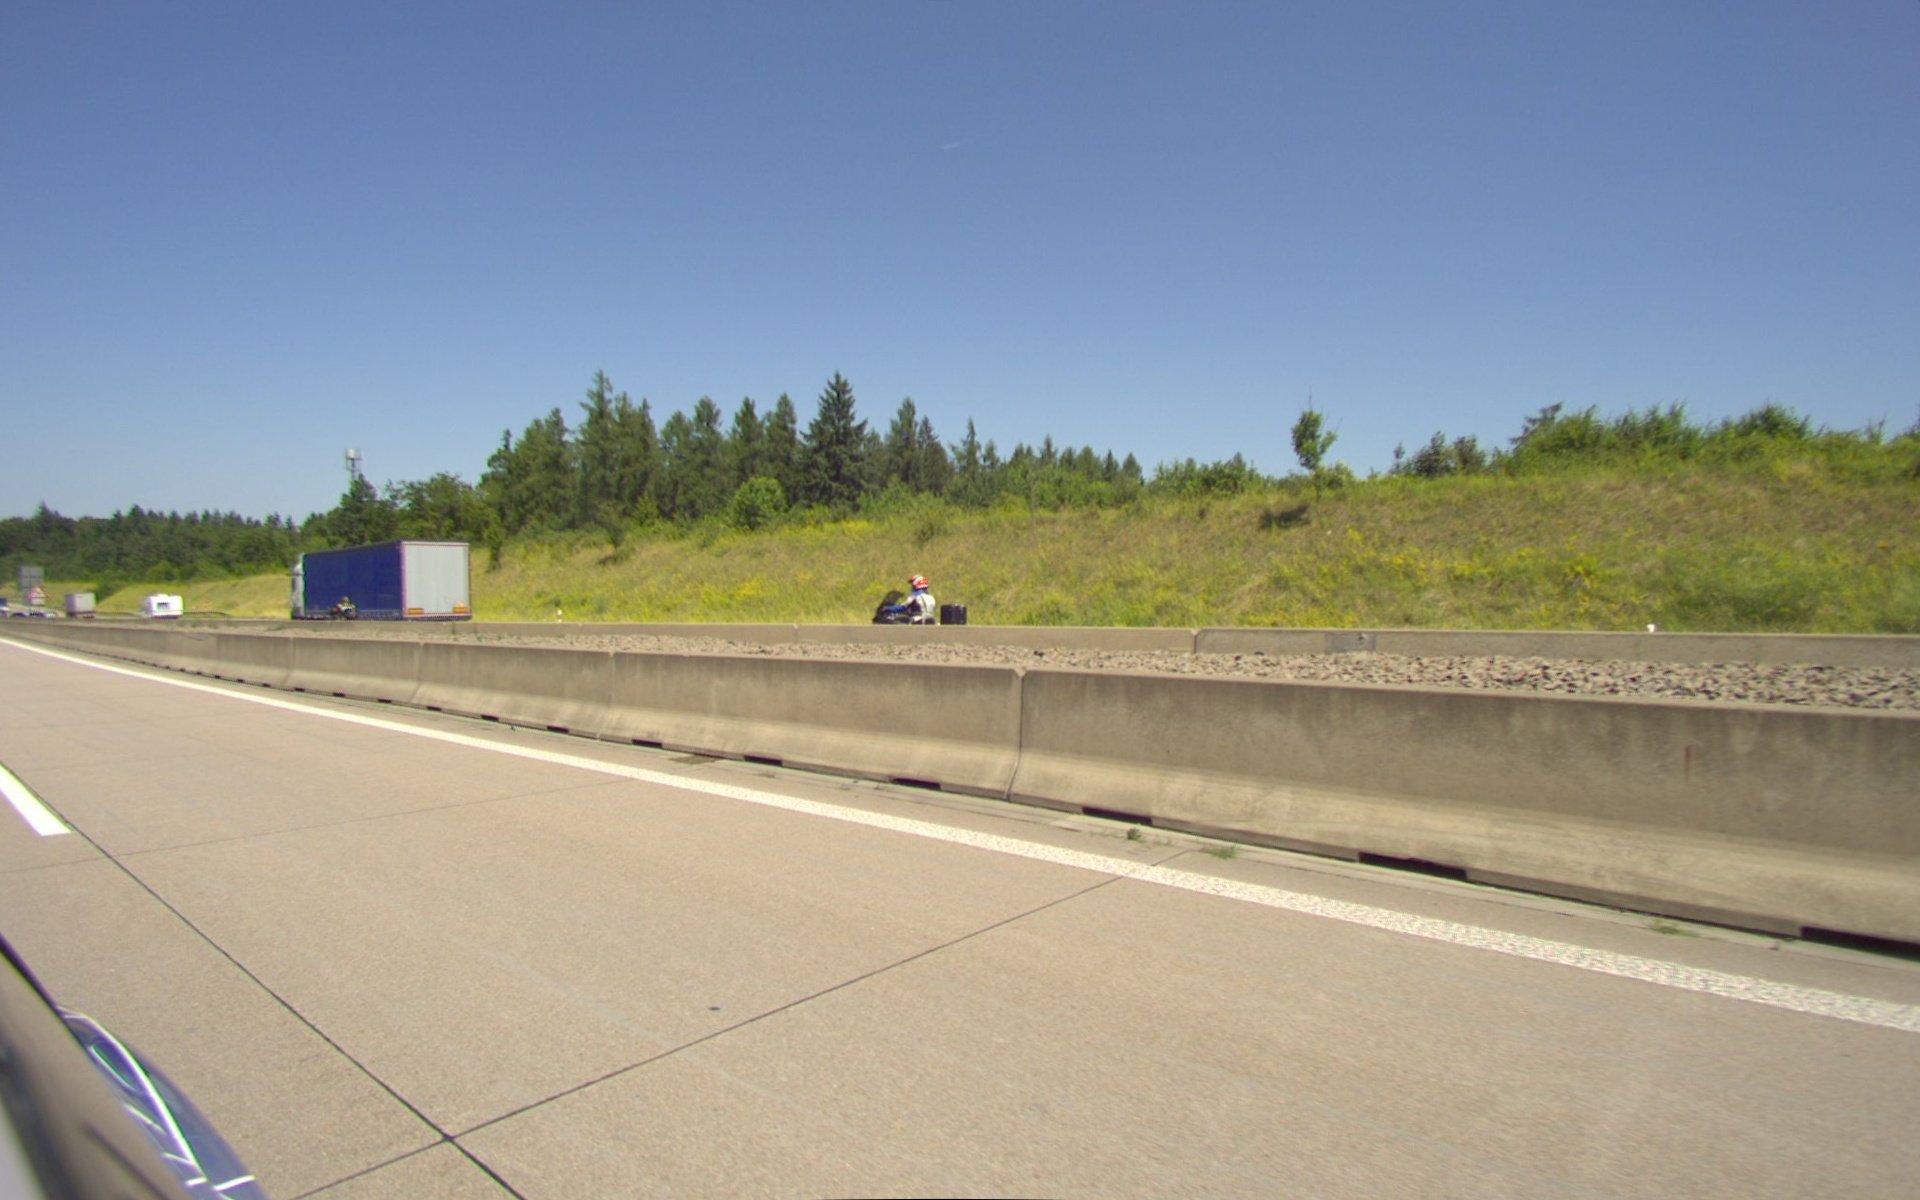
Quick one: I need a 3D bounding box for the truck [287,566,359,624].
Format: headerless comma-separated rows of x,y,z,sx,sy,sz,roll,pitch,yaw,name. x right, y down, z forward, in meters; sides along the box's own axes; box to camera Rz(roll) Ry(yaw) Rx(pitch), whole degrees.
-39.893,-0.311,63.341,4.513,3.438,2.696,0,2,43,truck

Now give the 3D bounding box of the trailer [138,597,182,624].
-83.381,1.152,105.410,7.783,2.651,2.577,-1,1,44,trailer

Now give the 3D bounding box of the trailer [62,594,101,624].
-140.347,1.371,161.620,13.927,4.464,3.350,0,2,44,trailer

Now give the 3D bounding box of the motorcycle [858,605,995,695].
-0.585,0.797,16.782,2.357,1.382,0.816,-1,-1,42,motorcycle

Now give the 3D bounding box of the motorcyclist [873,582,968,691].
-0.667,0.587,16.860,1.524,1.722,0.685,-1,-1,42,motorcyclist

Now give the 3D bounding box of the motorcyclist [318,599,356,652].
-22.839,0.920,37.085,1.491,1.888,0.810,-1,-1,42,motorcyclist

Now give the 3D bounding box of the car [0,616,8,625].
-183.102,3.932,193.017,4.372,1.705,1.972,-1,1,44,car

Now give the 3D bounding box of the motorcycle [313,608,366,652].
-22.730,1.073,37.025,2.483,1.561,0.997,-1,-1,42,motorcycle

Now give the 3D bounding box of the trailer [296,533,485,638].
-25.102,-0.578,44.004,13.869,3.961,3.126,0,2,44,trailer

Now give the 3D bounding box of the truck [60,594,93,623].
-145.421,1.399,166.502,6.802,4.464,3.350,0,2,44,truck

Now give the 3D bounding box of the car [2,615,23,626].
-142.928,3.039,152.630,4.499,1.570,1.971,-1,1,44,car

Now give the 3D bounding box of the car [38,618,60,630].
-132.664,3.486,147.332,4.499,1.570,1.971,-1,1,44,car

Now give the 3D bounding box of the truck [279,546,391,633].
-30.342,-0.517,49.032,5.837,3.961,3.126,0,2,44,truck

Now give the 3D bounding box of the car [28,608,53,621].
-111.670,1.736,122.853,4.001,1.530,1.971,-1,1,44,car
